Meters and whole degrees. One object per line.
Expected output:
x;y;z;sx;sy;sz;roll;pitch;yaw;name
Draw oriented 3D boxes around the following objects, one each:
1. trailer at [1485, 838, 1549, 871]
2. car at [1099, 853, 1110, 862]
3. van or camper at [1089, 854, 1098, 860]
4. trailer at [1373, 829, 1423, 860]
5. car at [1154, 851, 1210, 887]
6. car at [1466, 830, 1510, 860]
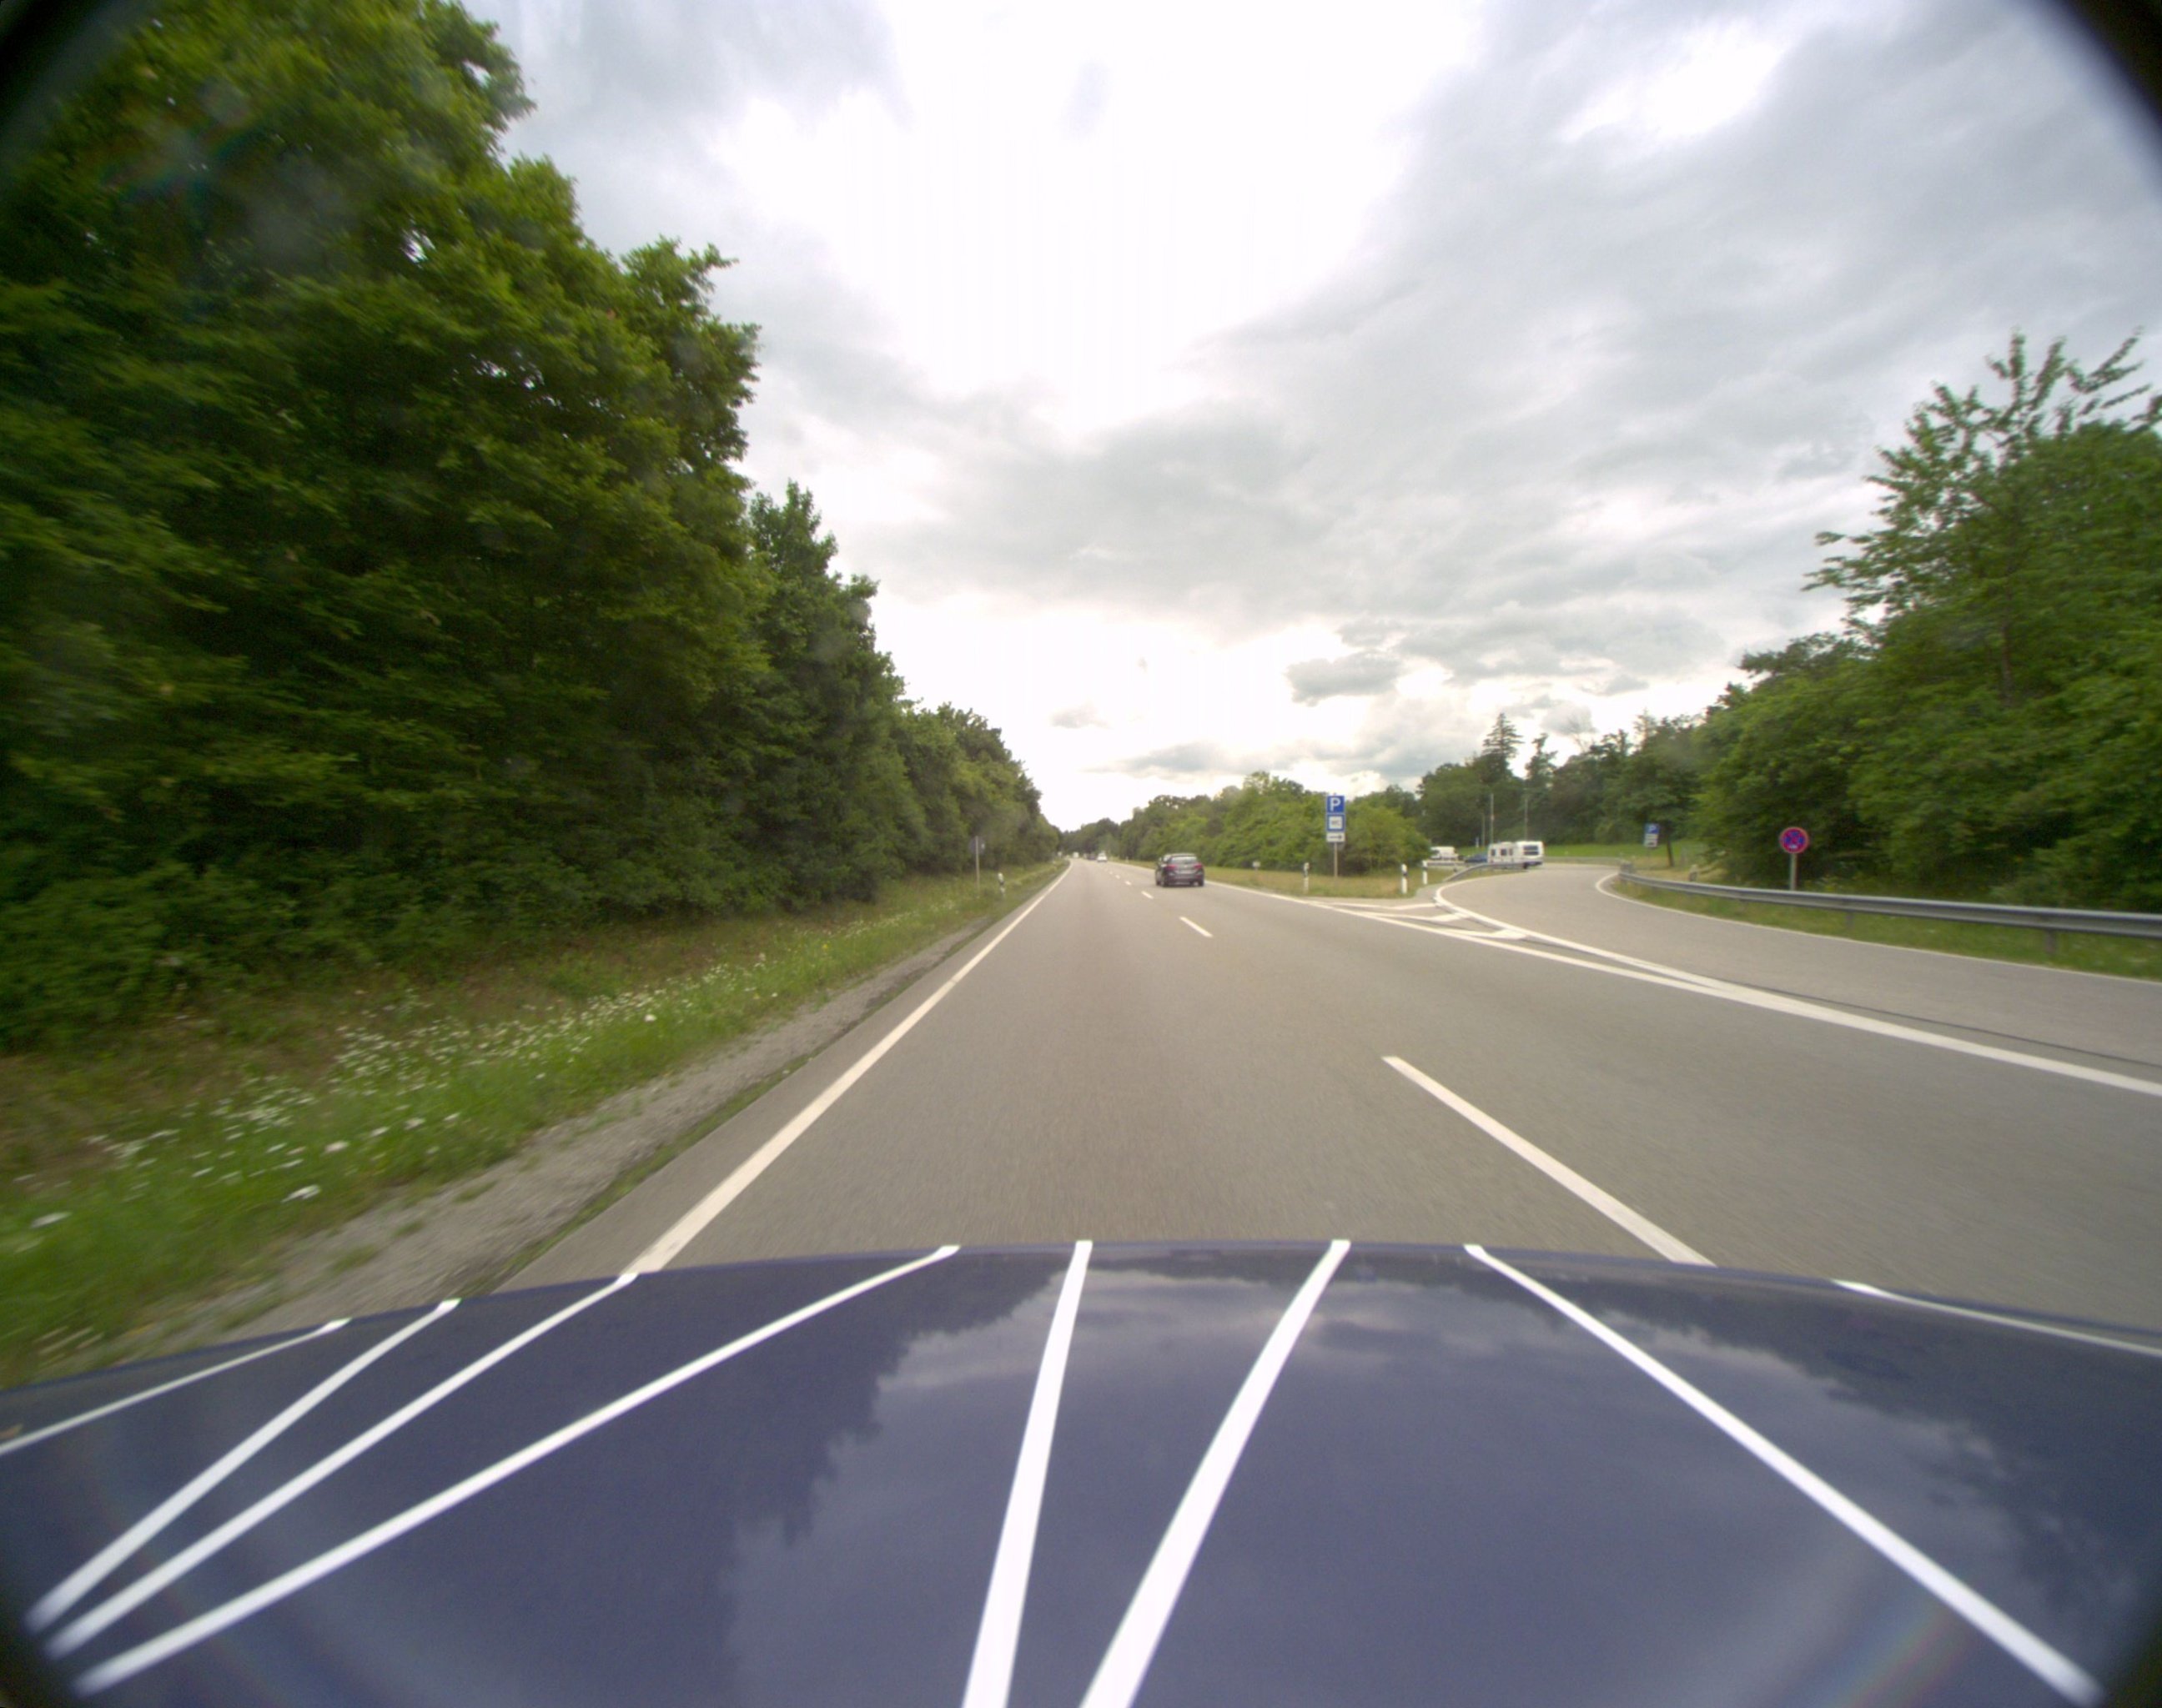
42.125;0.018;73.657;2.485;2.947;7.395;-2;0;5;trailer
4.849;0.767;154.950;1.918;1.770;4.611;-2;0;-1;car
3.294;0.796;207.689;1.999;1.772;4.420;-2;0;-4;van or camper
35.288;-1.018;84.586;4.688;3.234;2.000;-2;1;0;trailer
4.487;0.637;34.475;1.813;1.434;4.446;-2;0;-1;car
42.584;-0.969;79.695;2.403;2.944;4.602;-2;1;5;car
